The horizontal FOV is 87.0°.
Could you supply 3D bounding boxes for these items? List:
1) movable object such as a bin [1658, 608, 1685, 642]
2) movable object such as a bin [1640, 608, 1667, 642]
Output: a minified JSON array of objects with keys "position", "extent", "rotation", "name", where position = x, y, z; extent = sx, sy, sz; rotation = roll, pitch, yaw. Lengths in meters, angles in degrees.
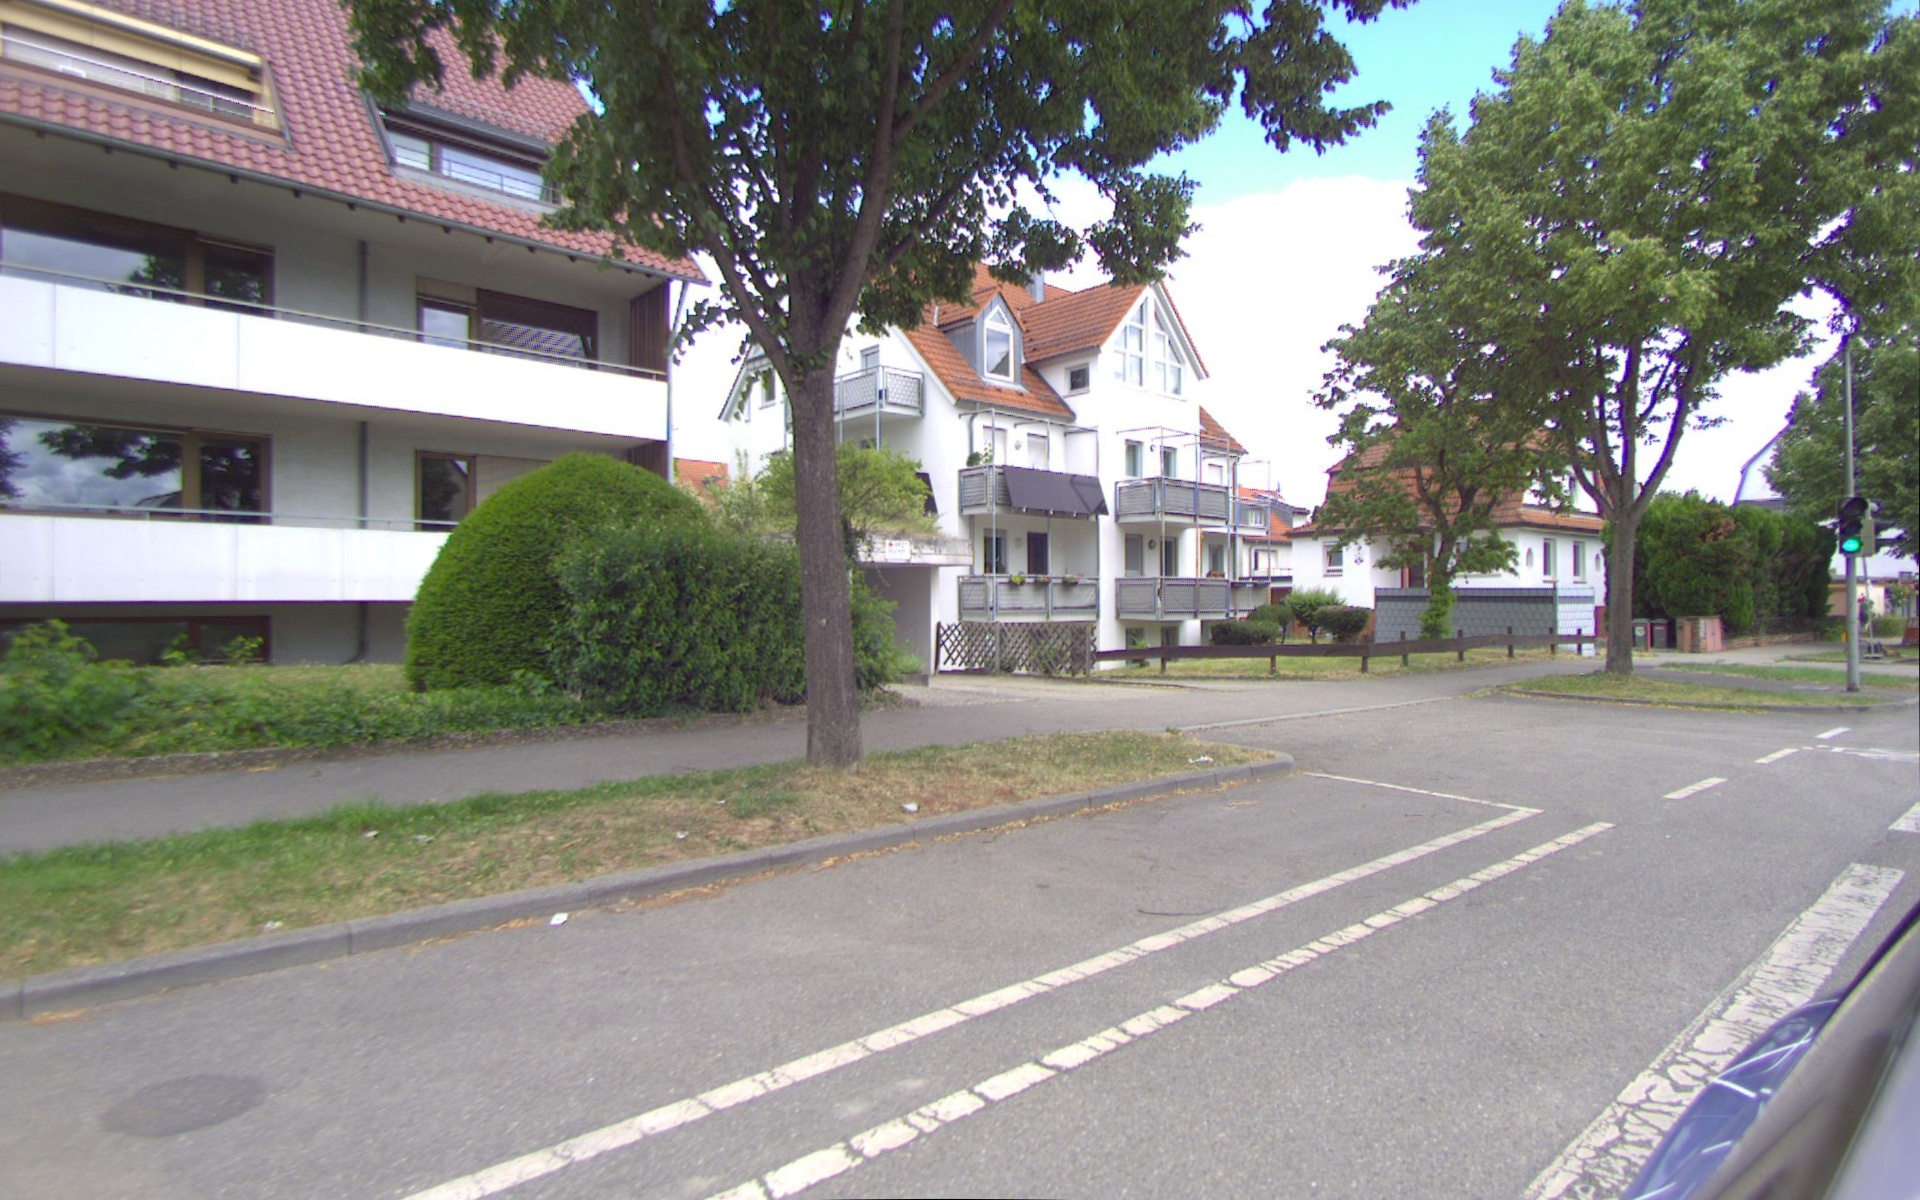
[{"position":[22.504,0.786,32.008],"extent":[0.508,1.058,0.501],"rotation":[1,0,-26],"name":"movable object such as a bin"},{"position":[22.279,0.792,32.497],"extent":[0.508,1.072,0.542],"rotation":[1,0,-25],"name":"movable object such as a bin"}]
